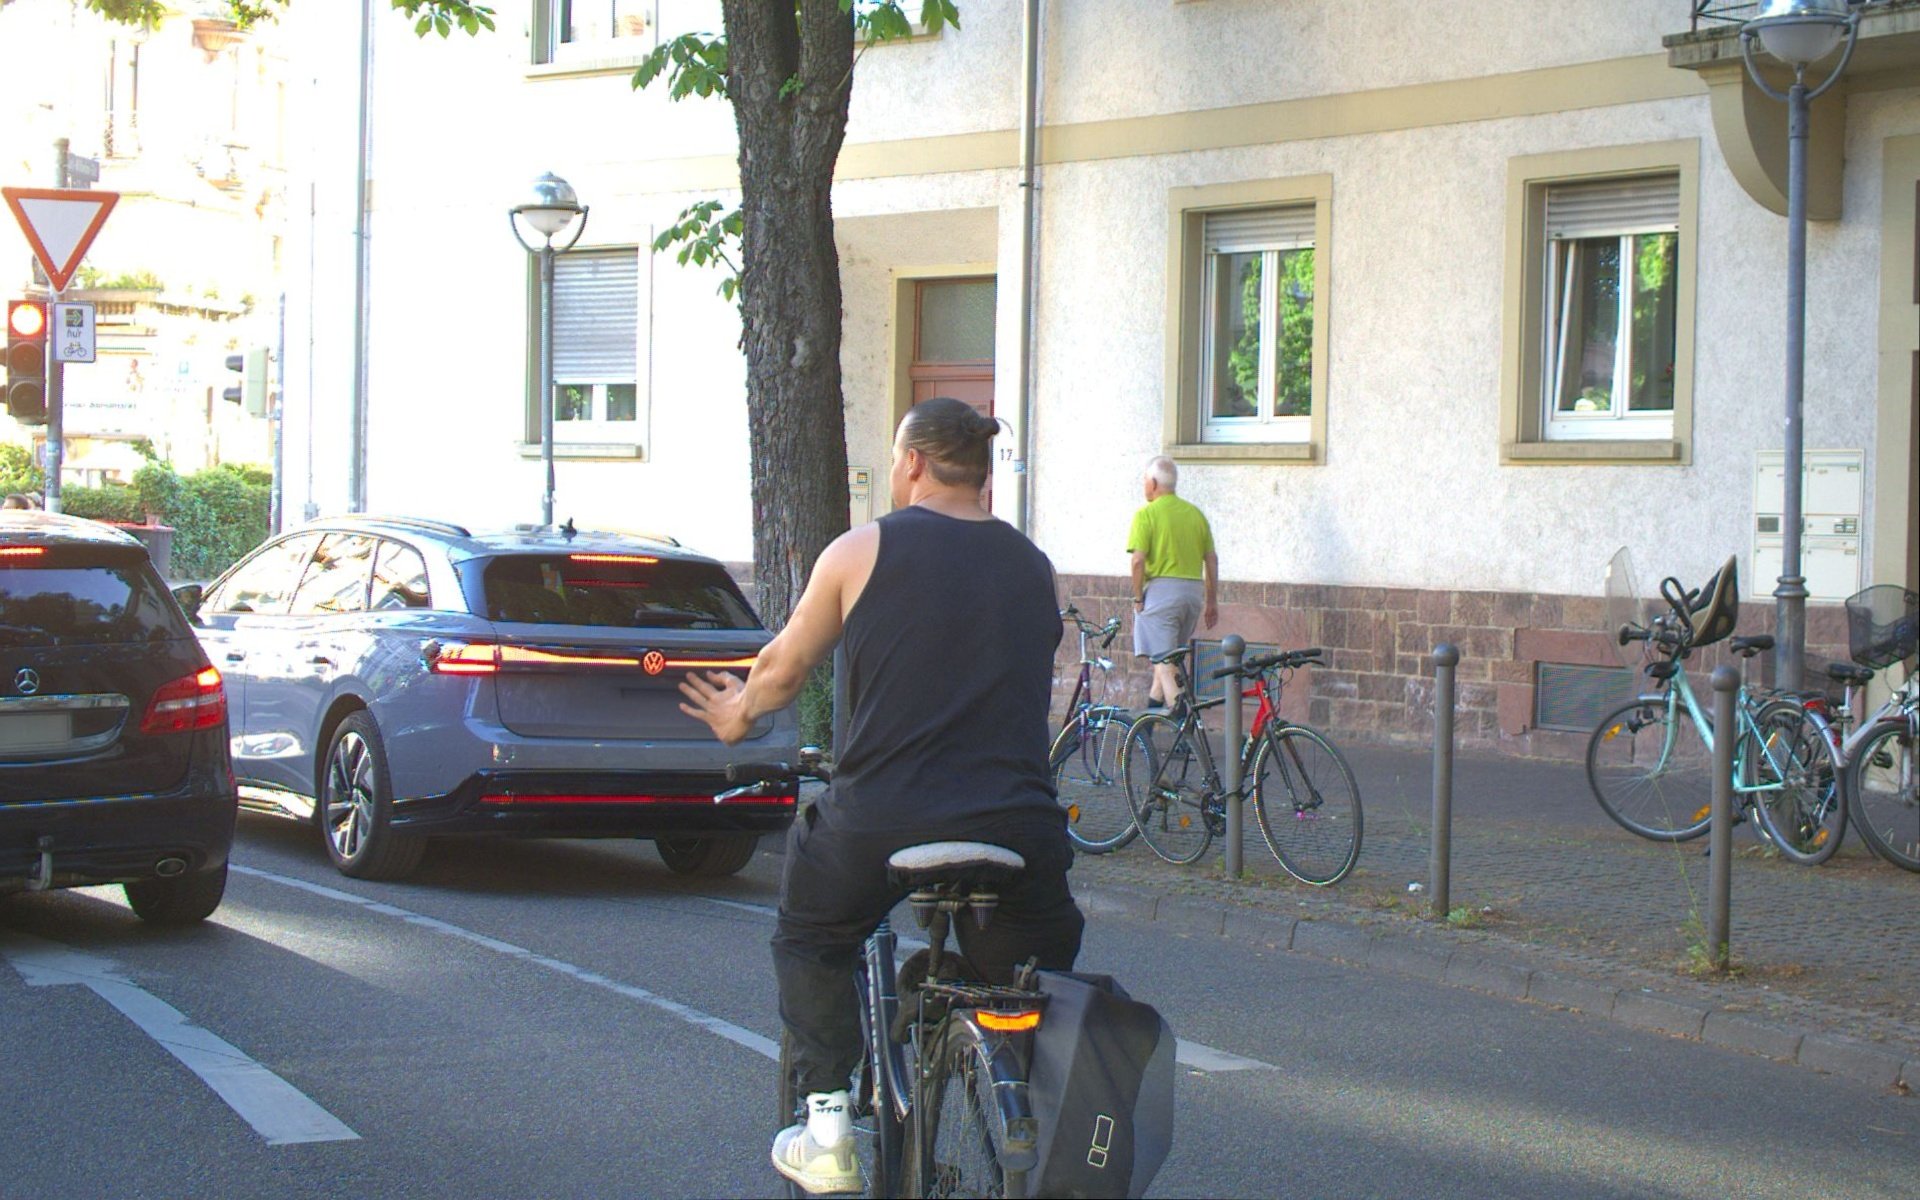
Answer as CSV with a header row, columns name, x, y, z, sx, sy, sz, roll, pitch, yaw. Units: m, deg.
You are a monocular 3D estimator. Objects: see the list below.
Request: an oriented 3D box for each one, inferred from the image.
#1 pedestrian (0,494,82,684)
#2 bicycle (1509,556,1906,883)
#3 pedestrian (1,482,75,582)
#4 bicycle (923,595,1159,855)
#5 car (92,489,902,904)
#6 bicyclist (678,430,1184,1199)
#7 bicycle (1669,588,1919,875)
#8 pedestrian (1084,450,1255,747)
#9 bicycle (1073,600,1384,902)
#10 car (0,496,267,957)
name,x,y,z,sx,sy,sz,roll,pitch,yaw
pedestrian,-8.345,-0.112,30.540,0.901,1.629,0.726,3,2,-21
bicycle,3.191,0.470,14.889,0.717,1.273,1.967,-1,2,-21
pedestrian,-15.725,-1.156,58.654,0.711,1.659,0.896,6,3,34
bicycle,0.355,0.550,16.006,0.480,1.060,1.636,-2,3,-22
car,-2.290,0.358,15.793,1.970,1.580,4.475,3,0,-32
bicyclist,-0.083,0.528,6.269,0.686,1.650,0.990,0,2,-15
bicycle,3.903,0.538,14.907,0.667,1.103,1.967,1,1,-19
pedestrian,1.246,-0.030,20.518,0.643,1.721,0.888,-2,3,-27
bicycle,1.096,0.595,14.427,0.526,1.103,1.741,-2,3,-24
car,-4.259,0.380,13.198,1.790,1.536,3.860,-2,2,-34
